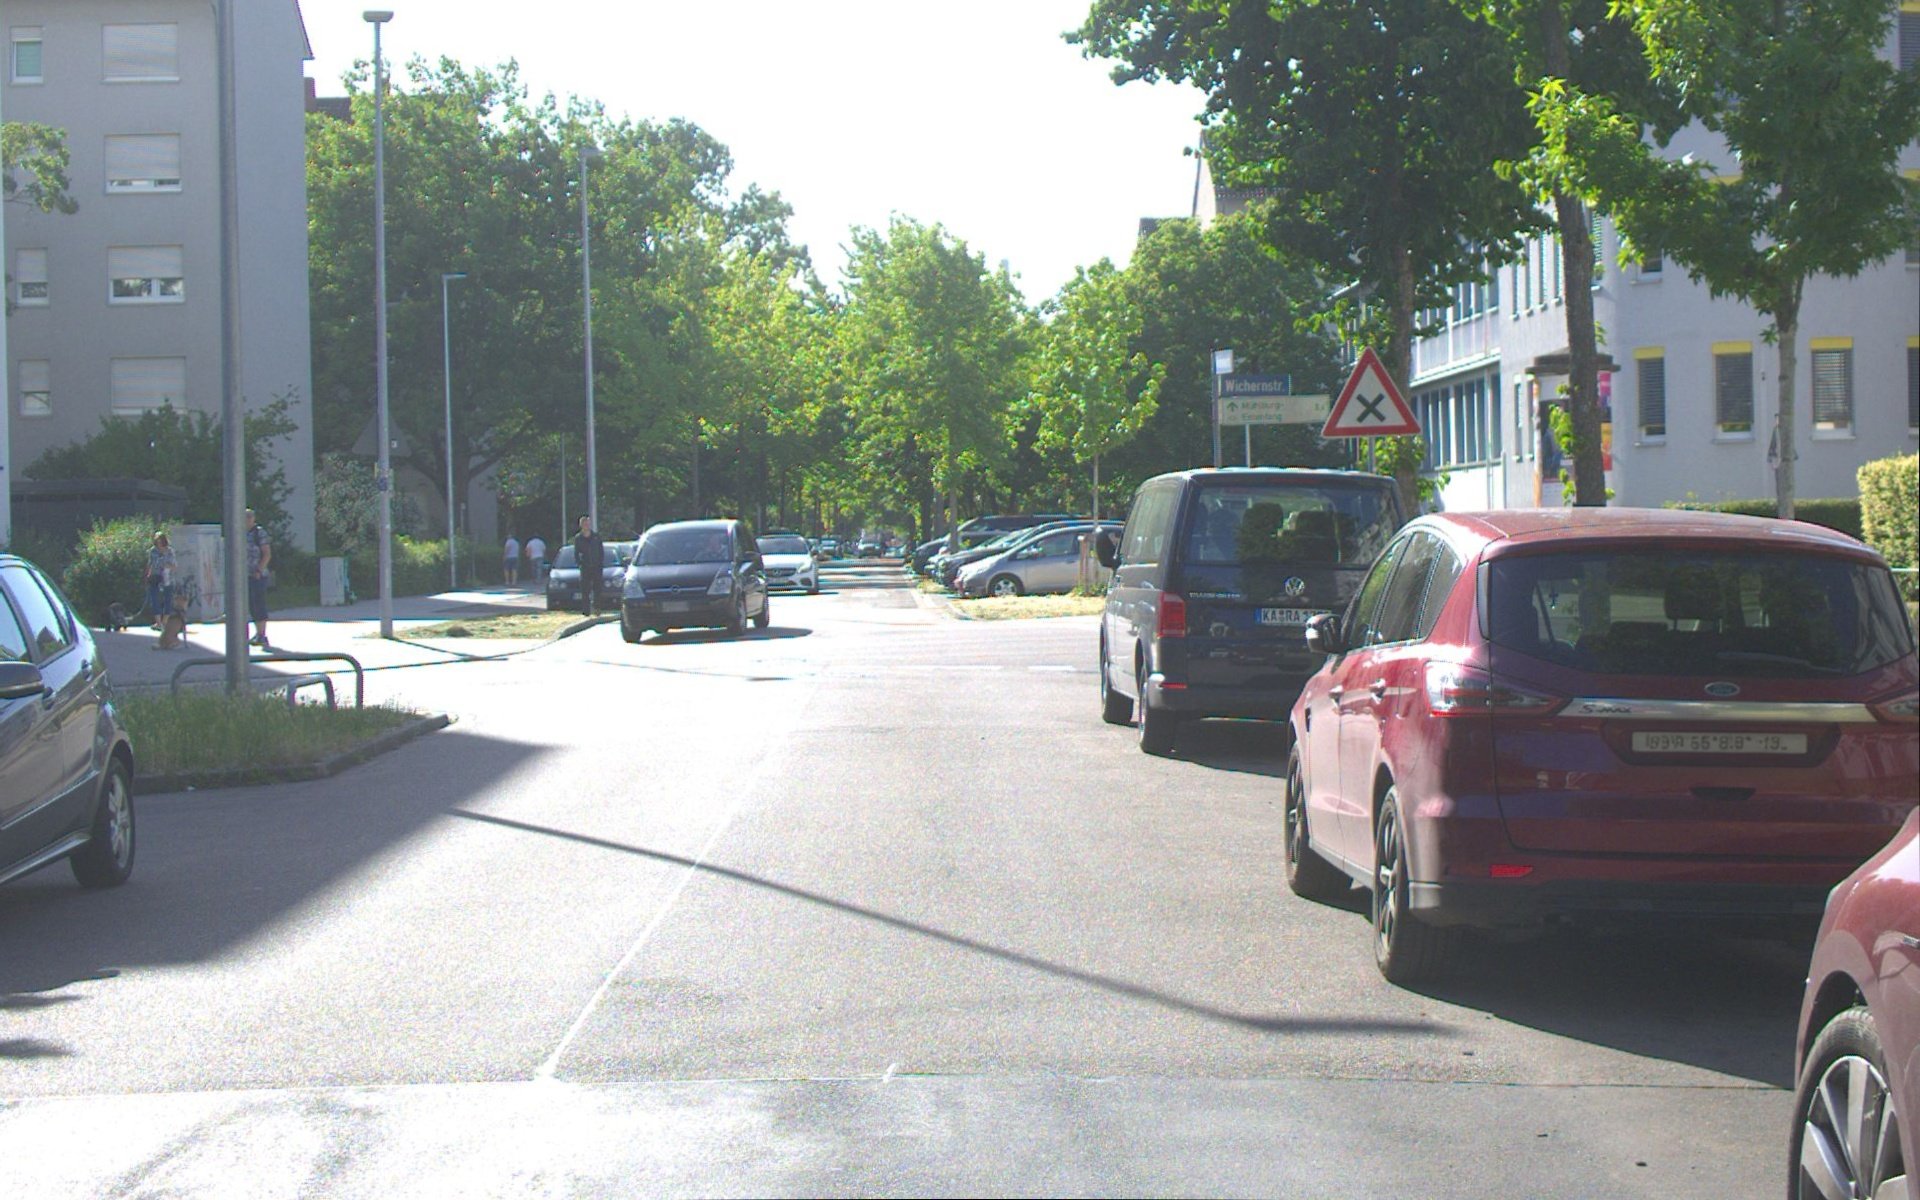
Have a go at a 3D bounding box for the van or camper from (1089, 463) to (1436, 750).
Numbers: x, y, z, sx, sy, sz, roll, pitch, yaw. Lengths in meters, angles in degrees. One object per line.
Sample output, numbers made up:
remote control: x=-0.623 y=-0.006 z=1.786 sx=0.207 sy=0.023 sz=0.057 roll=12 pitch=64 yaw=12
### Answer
van or camper: x=2.089 y=0.017 z=25.257 sx=1.989 sy=1.856 sz=5.387 roll=1 pitch=1 yaw=-1

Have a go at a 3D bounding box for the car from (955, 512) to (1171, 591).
car: x=1.997 y=-0.953 z=67.418 sx=4.088 sy=1.487 sz=1.729 roll=-1 pitch=1 yaw=-4

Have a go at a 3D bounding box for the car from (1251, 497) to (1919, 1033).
car: x=2.235 y=0.475 z=12.887 sx=1.899 sy=1.608 sz=4.972 roll=0 pitch=1 yaw=0

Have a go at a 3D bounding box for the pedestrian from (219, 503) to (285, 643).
pedestrian: x=-9.600 y=-0.365 z=46.659 sx=0.843 sy=1.878 sz=0.791 roll=1 pitch=0 yaw=-11

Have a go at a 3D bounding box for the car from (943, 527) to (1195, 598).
car: x=2.176 y=-0.768 z=69.462 sx=4.869 sy=1.270 sz=1.729 roll=-2 pitch=1 yaw=-5

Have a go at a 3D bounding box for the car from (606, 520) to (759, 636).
car: x=-3.824 y=-0.311 z=47.909 sx=1.737 sy=1.525 sz=4.114 roll=1 pitch=1 yaw=1

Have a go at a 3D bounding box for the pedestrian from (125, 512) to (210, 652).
pedestrian: x=-12.258 y=-0.289 z=53.189 sx=0.775 sy=2.113 sz=0.956 roll=1 pitch=3 yaw=43

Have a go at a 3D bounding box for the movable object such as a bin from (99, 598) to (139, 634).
movable object such as a bin: x=-13.102 y=0.244 z=53.579 sx=0.272 sy=0.540 sz=0.685 roll=0 pitch=1 yaw=19

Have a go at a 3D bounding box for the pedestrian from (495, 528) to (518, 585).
pedestrian: x=-13.413 y=-1.283 z=101.741 sx=0.634 sy=1.659 sz=0.700 roll=-1 pitch=1 yaw=-6

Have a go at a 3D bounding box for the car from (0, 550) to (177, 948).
car: x=-4.674 y=0.601 z=14.747 sx=1.720 sy=1.557 sz=4.108 roll=-2 pitch=1 yaw=-1

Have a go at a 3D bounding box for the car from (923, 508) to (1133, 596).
car: x=1.401 y=-1.008 z=72.647 sx=4.278 sy=1.758 sz=2.000 roll=1 pitch=0 yaw=-3

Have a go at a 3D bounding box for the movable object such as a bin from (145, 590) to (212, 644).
movable object such as a bin: x=-10.437 y=0.231 z=45.940 sx=0.272 sy=0.677 sz=0.847 roll=-1 pitch=2 yaw=42

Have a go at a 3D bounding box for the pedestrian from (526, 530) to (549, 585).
pedestrian: x=-12.927 y=-1.311 z=105.202 sx=0.634 sy=1.659 sz=0.700 roll=-1 pitch=1 yaw=-6

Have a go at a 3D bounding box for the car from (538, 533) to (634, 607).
car: x=-7.472 y=-0.603 z=68.954 sx=1.667 sy=1.415 sz=4.001 roll=1 pitch=1 yaw=-3

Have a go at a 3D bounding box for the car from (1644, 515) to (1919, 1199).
car: x=2.409 y=0.606 z=4.694 sx=1.930 sy=1.562 sz=4.594 roll=-3 pitch=1 yaw=0

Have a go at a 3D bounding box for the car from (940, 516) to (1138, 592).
car: x=1.707 y=-1.003 z=75.472 sx=4.203 sy=1.590 sz=2.000 roll=1 pitch=0 yaw=-2

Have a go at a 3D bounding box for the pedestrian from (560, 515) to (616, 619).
pedestrian: x=-6.229 y=-0.561 z=57.632 sx=0.870 sy=1.708 sz=0.979 roll=-1 pitch=1 yaw=-4

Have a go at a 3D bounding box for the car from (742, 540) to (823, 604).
car: x=-4.362 y=-0.704 z=85.112 sx=1.885 sy=1.499 sz=4.639 roll=2 pitch=1 yaw=-2
